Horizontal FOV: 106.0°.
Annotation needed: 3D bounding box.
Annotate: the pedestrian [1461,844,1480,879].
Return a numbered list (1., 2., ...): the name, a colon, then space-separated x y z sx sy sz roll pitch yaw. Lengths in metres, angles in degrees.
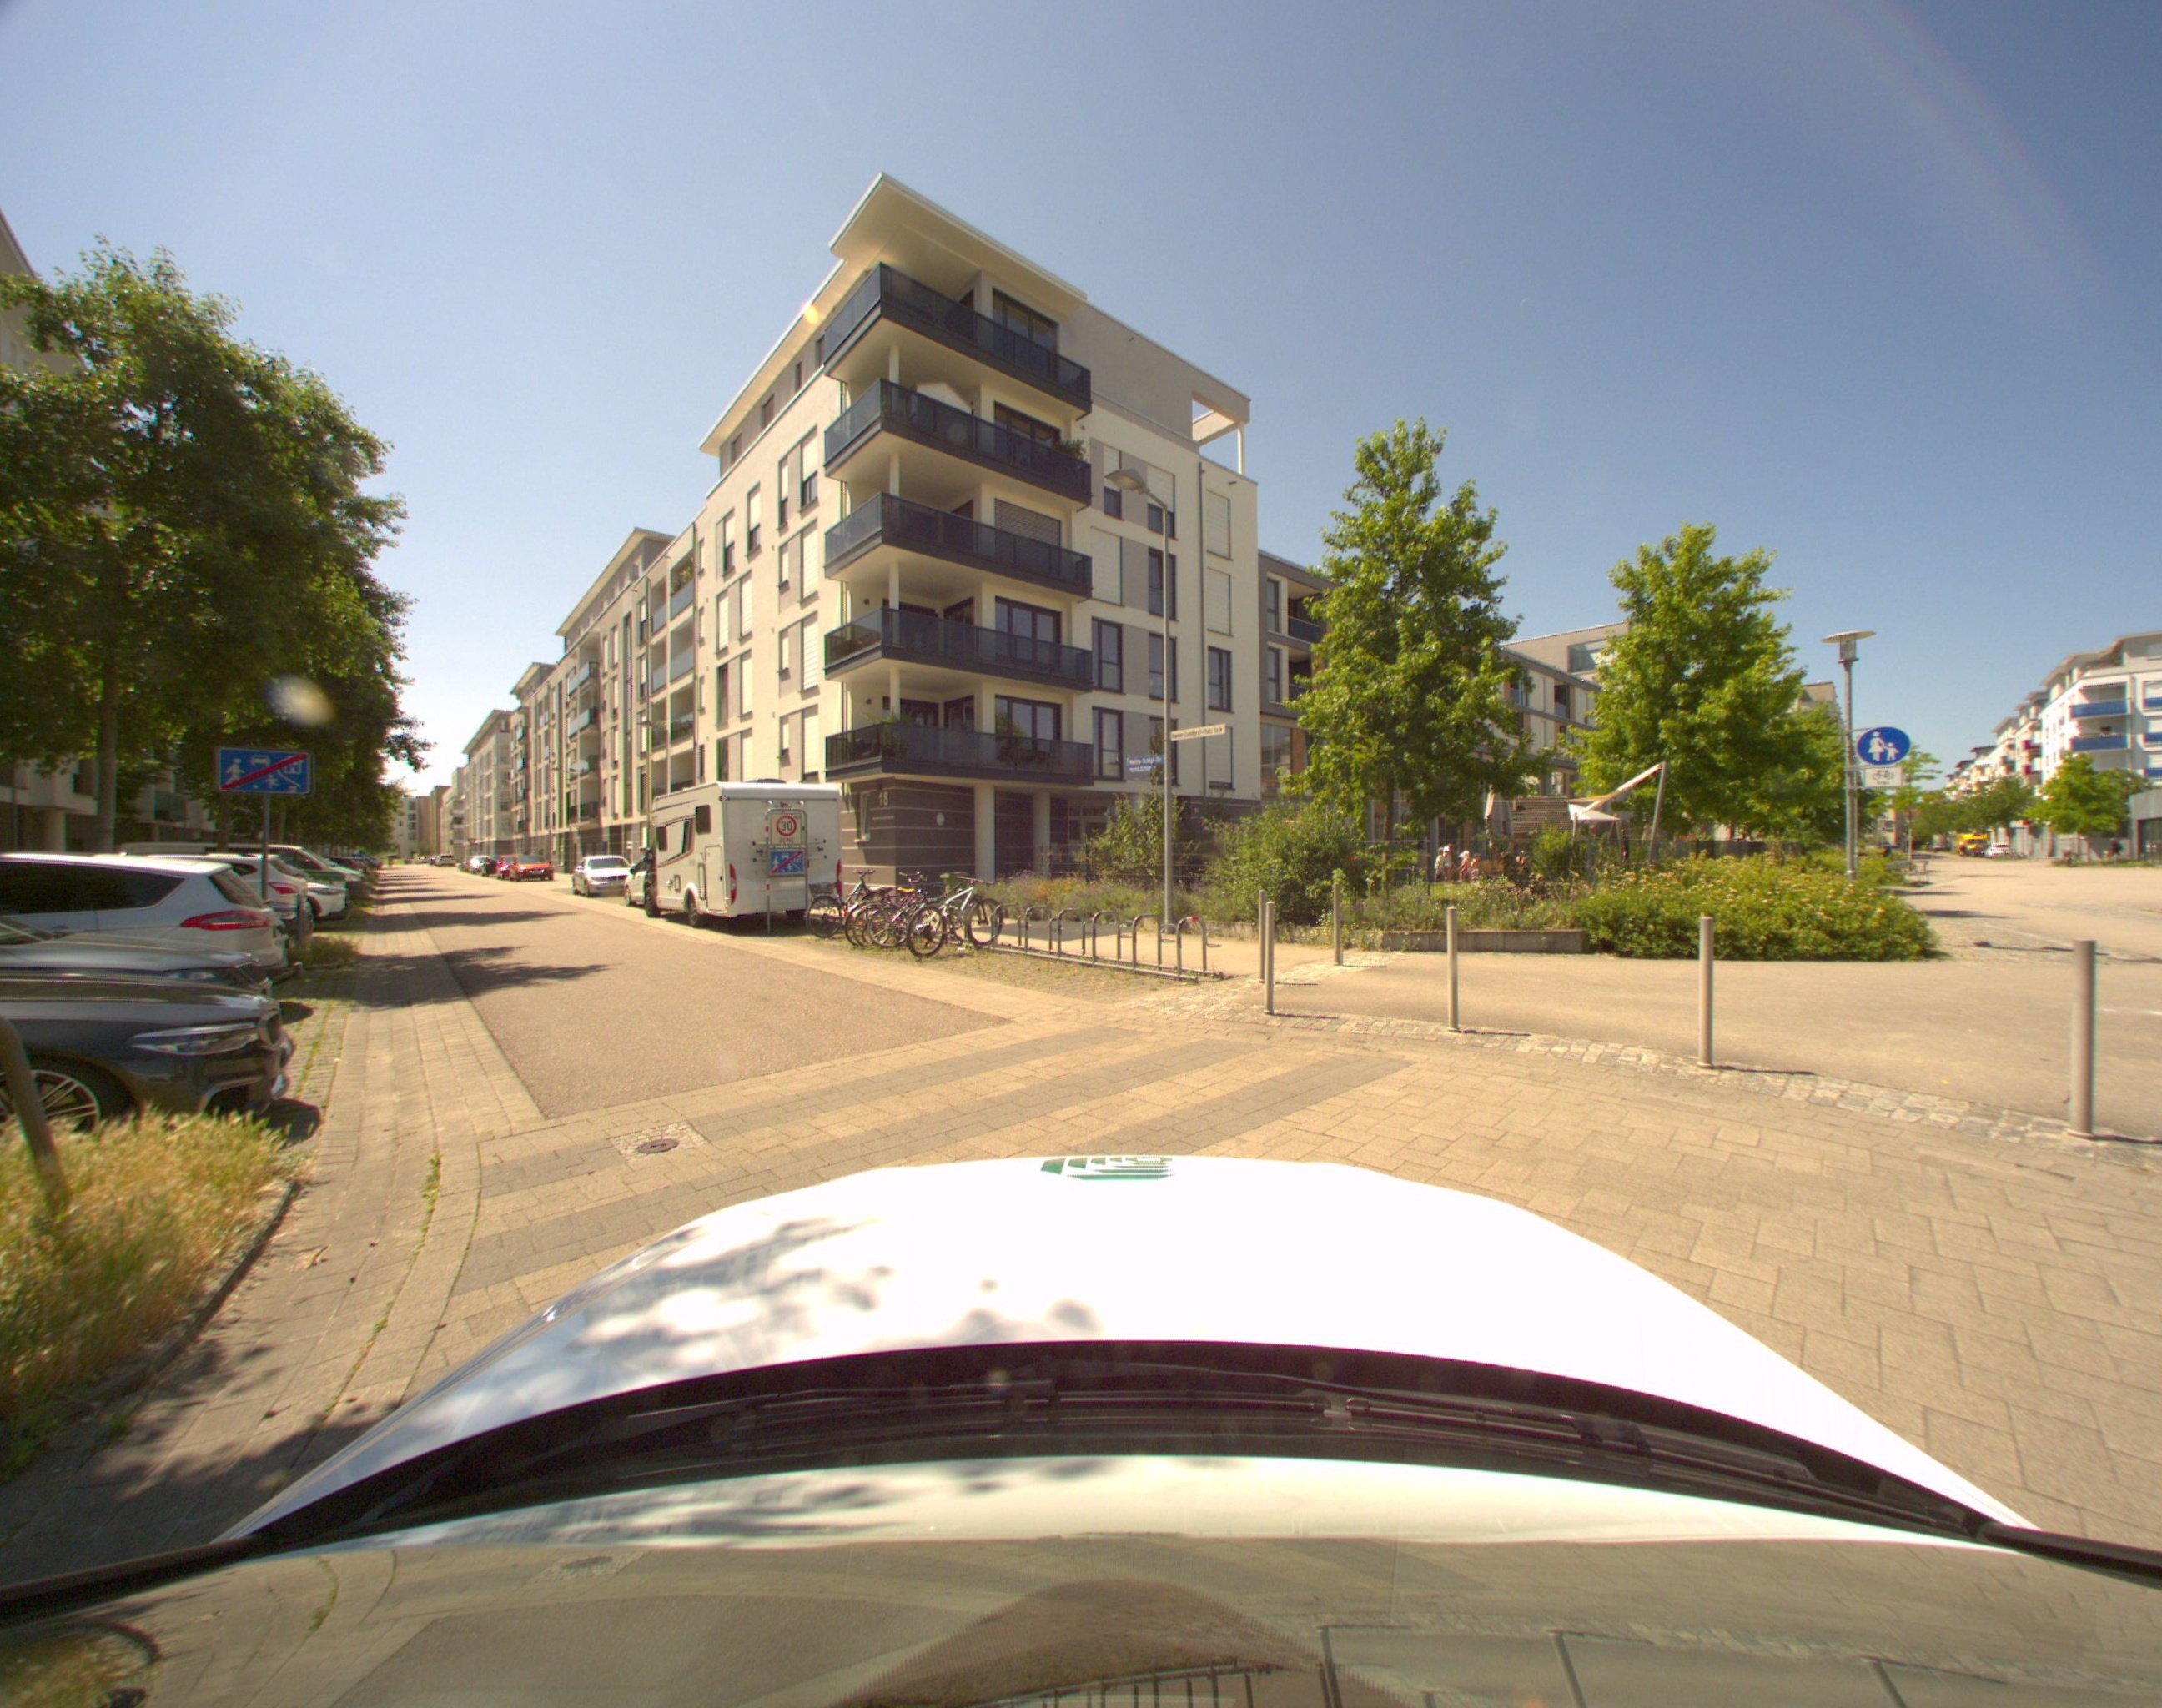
1. pedestrian: 10.961 0.204 22.911 0.291 0.971 0.384 0 0 -29

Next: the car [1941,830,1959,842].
1. car: 156.950 -3.235 147.129 1.975 2.013 4.023 0 0 45

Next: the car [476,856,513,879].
1. car: -40.904 0.948 56.744 1.657 1.462 4.068 -4 2 -41

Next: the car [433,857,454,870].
1. car: -83.977 1.221 107.223 2.014 1.657 4.067 -2 1 -40

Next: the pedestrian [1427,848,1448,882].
1. pedestrian: 10.450 0.310 23.865 0.412 0.986 0.367 1 -1 -22

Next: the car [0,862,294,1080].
1. car: -8.599 0.765 5.347 4.860 1.449 1.805 2 -2 -43

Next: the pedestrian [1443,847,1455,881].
1. pedestrian: 11.407 0.297 25.223 0.318 1.053 0.292 0 0 26

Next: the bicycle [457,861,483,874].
1. bicycle: -56.217 1.217 74.985 1.803 1.104 0.737 -3 1 -44

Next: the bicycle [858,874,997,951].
1. bicycle: -2.337 0.857 12.415 1.864 0.975 0.936 -3 1 -28

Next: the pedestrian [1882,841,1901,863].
1. pedestrian: 49.921 -0.138 50.165 0.700 1.348 0.839 -1 1 -45

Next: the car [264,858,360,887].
1. car: -45.287 1.033 48.071 4.021 1.629 1.910 0 -1 -41

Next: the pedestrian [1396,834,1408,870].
1. pedestrian: 15.086 -0.079 38.255 0.392 1.690 0.465 0 0 41

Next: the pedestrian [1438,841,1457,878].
1. pedestrian: 10.423 0.159 23.143 0.410 1.025 0.281 0 -1 -9

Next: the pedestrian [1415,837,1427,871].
1. pedestrian: 15.013 -0.010 35.956 0.393 1.508 0.464 0 0 8

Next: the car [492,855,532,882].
1. car: -34.583 0.873 49.448 1.609 1.485 3.632 -4 2 -40

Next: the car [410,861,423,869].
1. car: -145.986 2.367 178.865 2.011 1.717 3.952 -2 1 -42

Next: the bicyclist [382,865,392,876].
1. bicyclist: -97.758 2.299 114.684 0.962 1.459 0.790 -2 1 -42

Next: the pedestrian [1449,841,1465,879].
1. pedestrian: 10.731 0.171 23.254 0.291 1.053 0.284 0 0 -23

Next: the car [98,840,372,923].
1. car: -24.761 0.709 24.255 5.387 2.110 2.162 -2 1 -39

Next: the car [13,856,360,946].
1. car: -18.026 0.870 16.782 1.942 1.594 4.600 -1 -1 44

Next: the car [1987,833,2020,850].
1. car: 89.419 -1.221 78.955 4.022 1.609 1.976 0 0 -43

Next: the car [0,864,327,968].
1. car: -15.117 0.884 12.663 4.891 1.457 1.807 1 -1 -41

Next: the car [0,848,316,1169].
1. car: -6.794 0.755 3.457 5.144 1.485 1.904 -1 0 -43

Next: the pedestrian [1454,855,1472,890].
1. pedestrian: 11.448 0.543 24.417 0.392 1.026 0.414 0 -1 38

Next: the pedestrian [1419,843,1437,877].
1. pedestrian: 10.763 0.185 25.233 0.410 1.025 0.314 0 -1 -9

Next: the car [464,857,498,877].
1. car: -48.150 1.016 65.356 1.850 1.504 4.299 -4 2 -41

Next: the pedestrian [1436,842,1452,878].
1. pedestrian: 10.467 0.171 23.501 0.291 1.053 0.319 0 0 -23

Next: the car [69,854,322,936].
1. car: -19.915 0.856 18.596 3.711 1.676 1.830 0 -1 -41

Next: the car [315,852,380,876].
1. car: -94.562 1.210 105.172 6.076 2.816 2.574 -3 1 -41

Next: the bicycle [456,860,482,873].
1. bicycle: -57.463 1.184 76.441 0.454 1.148 1.851 -2 1 31

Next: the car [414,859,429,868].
1. car: -128.360 1.774 158.542 2.011 1.675 3.952 -2 1 -42

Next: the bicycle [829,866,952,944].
1. bicycle: -3.042 0.778 13.126 1.899 1.110 0.470 -2 1 -40

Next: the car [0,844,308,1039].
1. car: -10.241 0.743 7.082 5.073 1.632 2.017 -1 0 -43

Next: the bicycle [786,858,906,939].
1. bicycle: -4.101 0.739 14.385 0.816 1.222 1.935 0 3 33

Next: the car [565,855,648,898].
1. car: -17.268 0.767 29.531 1.861 1.416 4.374 -1 0 -40

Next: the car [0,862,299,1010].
1. car: -11.856 0.863 9.239 4.289 1.531 1.800 1 -1 -44

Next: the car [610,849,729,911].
1. car: -11.543 0.667 22.707 1.823 1.504 4.209 -3 2 -43

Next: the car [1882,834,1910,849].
1. car: 90.426 -1.336 90.362 4.111 1.652 2.127 0 0 -44

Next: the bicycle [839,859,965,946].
1. bicycle: -2.796 0.726 12.847 1.866 1.222 0.549 -2 1 -40

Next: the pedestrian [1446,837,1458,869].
1. pedestrian: 17.520 -0.032 38.459 0.458 1.508 0.398 0 0 8

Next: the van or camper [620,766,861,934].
1. van or camper: -7.743 -0.017 17.783 2.460 2.906 7.732 0 -1 -42

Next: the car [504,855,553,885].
1. car: -30.859 0.857 45.436 1.752 1.486 4.208 -3 2 -41

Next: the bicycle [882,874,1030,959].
1. bicycle: -1.739 0.842 11.680 0.864 1.003 2.046 -1 1 37

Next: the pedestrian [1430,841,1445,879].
1. pedestrian: 10.047 0.175 22.937 0.288 1.053 0.289 0 0 1

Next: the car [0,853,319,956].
1. car: -16.544 0.821 14.626 4.013 1.629 1.927 1 -1 -39
